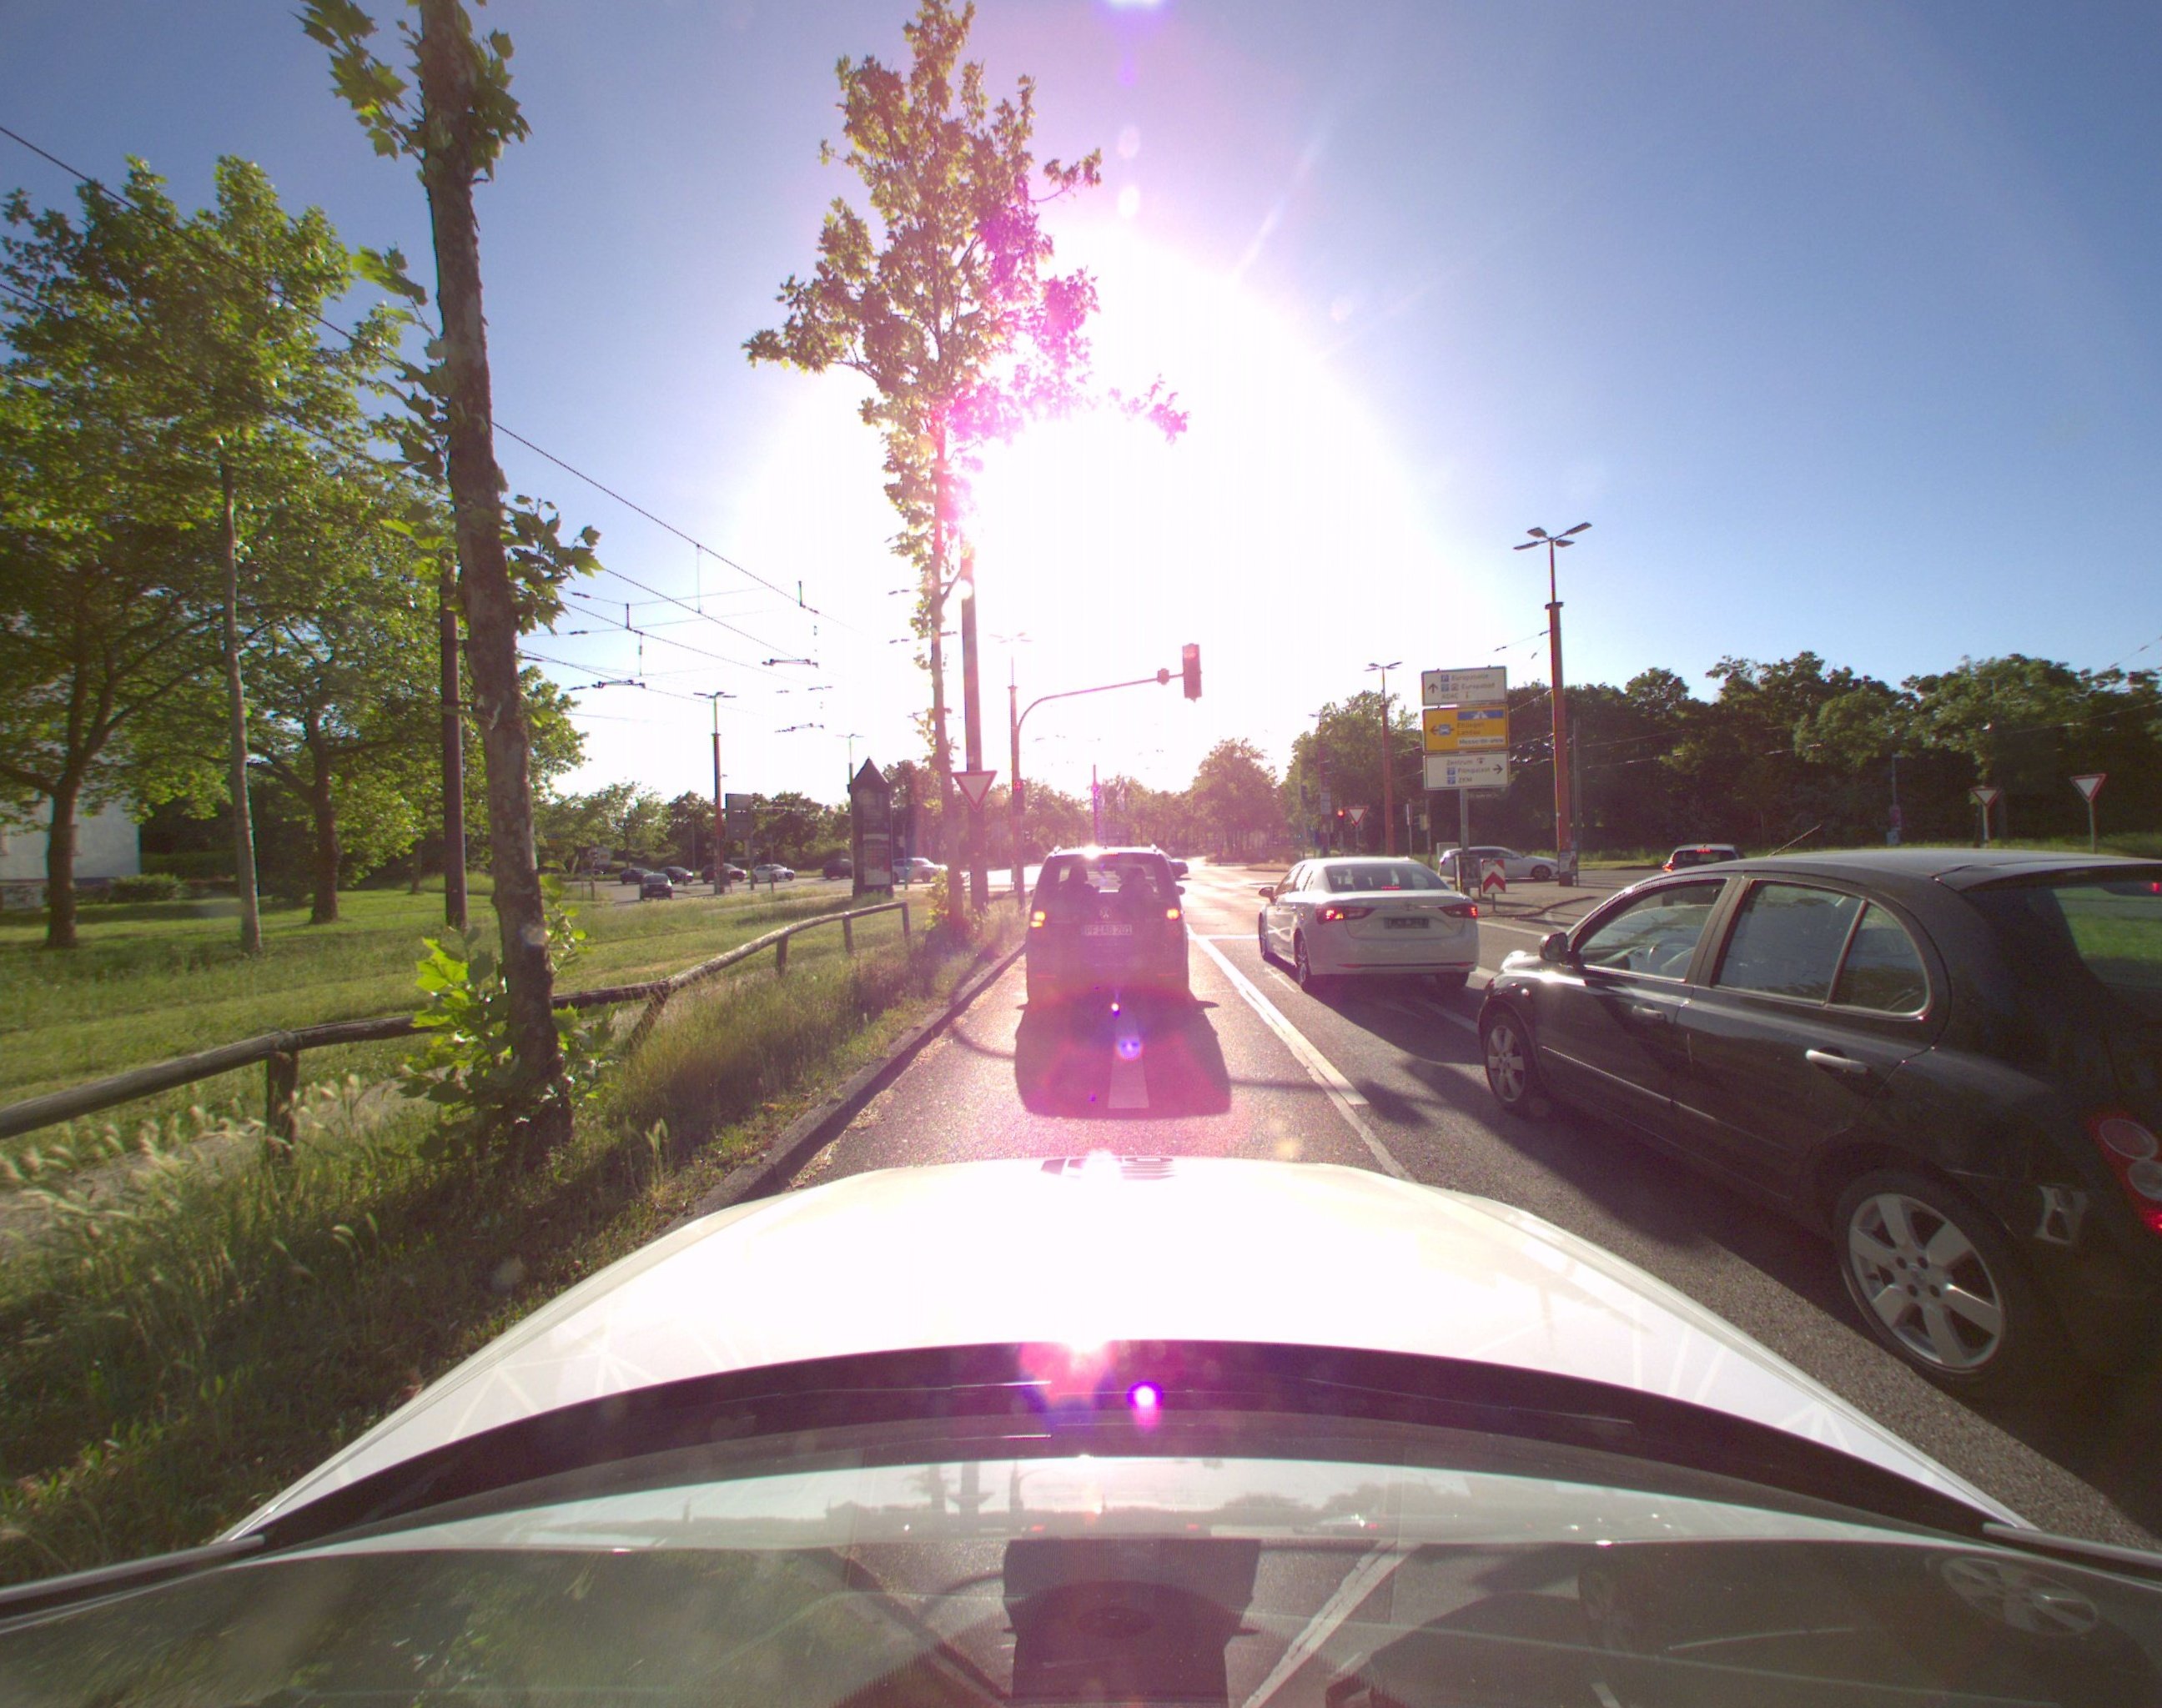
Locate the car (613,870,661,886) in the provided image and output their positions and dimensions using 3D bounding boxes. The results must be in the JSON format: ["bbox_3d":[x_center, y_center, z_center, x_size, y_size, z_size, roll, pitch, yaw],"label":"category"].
[{"bbox_3d":[-42.349,2.281,77.648,4.187,1.464,1.926,-2,0,28],"label":"car"}]

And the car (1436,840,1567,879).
[{"bbox_3d":[18.210,0.258,35.342,4.867,1.575,2.013,-2,0,30],"label":"car"}]

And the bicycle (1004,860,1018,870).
[{"bbox_3d":[-8.147,1.230,94.795,0.728,1.090,1.971,-2,0,21],"label":"bicycle"}]

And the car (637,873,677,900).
[{"bbox_3d":[-24.341,1.843,46.682,1.832,1.420,3.721,-1,0,-30],"label":"car"}]

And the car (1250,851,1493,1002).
[{"bbox_3d":[3.296,0.720,10.119,1.708,1.454,4.147,-2,0,3],"label":"car"}]

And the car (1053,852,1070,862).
[{"bbox_3d":[-2.949,0.439,122.844,1.646,1.310,3.829,-2,0,14],"label":"car"}]

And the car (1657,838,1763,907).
[{"bbox_3d":[15.289,0.395,19.716,1.729,1.469,3.916,-2,0,42],"label":"car"}]

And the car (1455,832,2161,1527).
[{"bbox_3d":[3.166,0.694,3.515,1.550,1.506,3.517,-2,0,2],"label":"car"}]

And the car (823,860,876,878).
[{"bbox_3d":[-19.567,1.261,68.848,4.169,1.464,1.926,-2,0,29],"label":"car"}]

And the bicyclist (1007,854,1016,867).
[{"bbox_3d":[-8.116,0.763,95.016,0.686,1.457,0.879,-2,-1,20],"label":"bicyclist"}]

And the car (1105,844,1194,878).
[{"bbox_3d":[4.005,0.412,47.590,4.735,1.836,1.926,-2,0,29],"label":"car"}]

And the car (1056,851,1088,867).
[{"bbox_3d":[-0.985,0.509,92.202,1.977,1.684,4.853,-2,0,20],"label":"car"}]

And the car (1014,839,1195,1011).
[{"bbox_3d":[0.295,0.696,9.992,1.731,1.641,4.002,-2,0,2],"label":"car"}]

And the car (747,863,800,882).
[{"bbox_3d":[-26.015,1.570,68.831,4.169,1.464,1.926,-2,0,29],"label":"car"}]

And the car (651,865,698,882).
[{"bbox_3d":[-37.354,1.772,74.844,4.004,1.464,1.926,-2,0,28],"label":"car"}]

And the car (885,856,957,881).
[{"bbox_3d":[-11.156,1.030,56.595,4.735,1.598,1.926,-2,0,29],"label":"car"}]

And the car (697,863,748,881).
[{"bbox_3d":[-31.719,1.567,72.075,4.318,1.464,1.926,-2,0,29],"label":"car"}]
